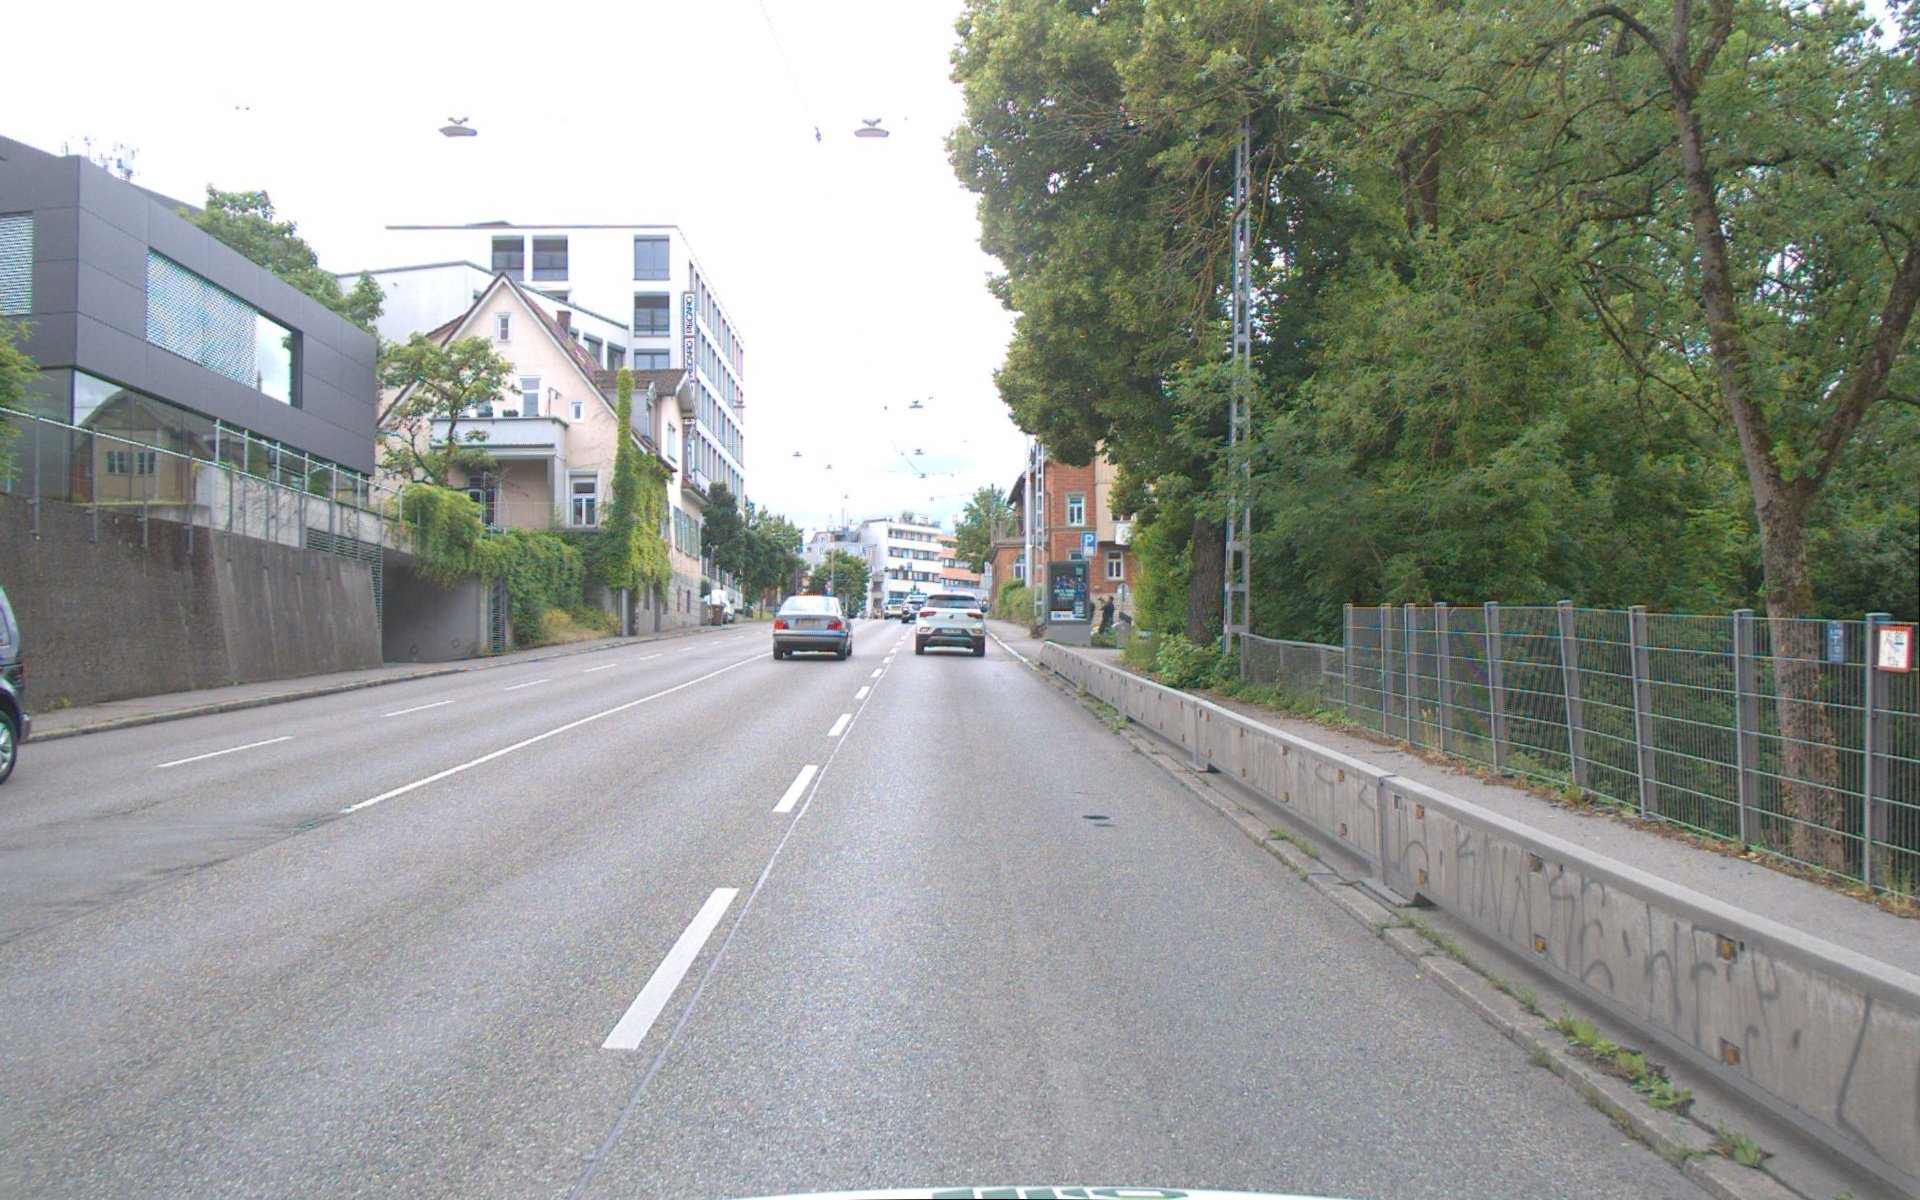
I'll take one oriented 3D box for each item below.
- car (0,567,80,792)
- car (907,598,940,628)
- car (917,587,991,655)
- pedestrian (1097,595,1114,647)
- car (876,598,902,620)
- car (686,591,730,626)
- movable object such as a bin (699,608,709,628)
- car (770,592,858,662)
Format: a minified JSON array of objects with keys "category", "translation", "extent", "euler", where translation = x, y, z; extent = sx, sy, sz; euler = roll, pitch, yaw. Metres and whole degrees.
[{"category":"car","translation":[-8.635,0.668,12.313],"extent":[1.779,1.815,4.494],"euler":[-1,0,-1]},{"category":"car","translation":[-1.906,0.670,86.854],"extent":[1.672,1.489,3.999],"euler":[0,0,-1]},{"category":"car","translation":[-0.204,0.509,42.215],"extent":[1.744,1.606,3.998],"euler":[1,0,-2]},{"category":"pedestrian","translation":[4.962,0.714,56.363],"extent":[0.499,1.747,0.465],"euler":[0,0,-3]},{"category":"car","translation":[-4.916,0.605,115.355],"extent":[1.672,1.489,3.999],"euler":[0,0,-1]},{"category":"car","translation":[-12.927,0.438,84.958],"extent":[1.954,1.731,3.996],"euler":[0,0,-5]},{"category":"movable object such as a bin","translation":[-12.739,0.898,82.273],"extent":[0.417,0.982,0.359],"euler":[1,-2,-4]},{"category":"car","translation":[-3.224,0.561,37.194],"extent":[1.672,1.489,3.999],"euler":[0,0,-1]}]
